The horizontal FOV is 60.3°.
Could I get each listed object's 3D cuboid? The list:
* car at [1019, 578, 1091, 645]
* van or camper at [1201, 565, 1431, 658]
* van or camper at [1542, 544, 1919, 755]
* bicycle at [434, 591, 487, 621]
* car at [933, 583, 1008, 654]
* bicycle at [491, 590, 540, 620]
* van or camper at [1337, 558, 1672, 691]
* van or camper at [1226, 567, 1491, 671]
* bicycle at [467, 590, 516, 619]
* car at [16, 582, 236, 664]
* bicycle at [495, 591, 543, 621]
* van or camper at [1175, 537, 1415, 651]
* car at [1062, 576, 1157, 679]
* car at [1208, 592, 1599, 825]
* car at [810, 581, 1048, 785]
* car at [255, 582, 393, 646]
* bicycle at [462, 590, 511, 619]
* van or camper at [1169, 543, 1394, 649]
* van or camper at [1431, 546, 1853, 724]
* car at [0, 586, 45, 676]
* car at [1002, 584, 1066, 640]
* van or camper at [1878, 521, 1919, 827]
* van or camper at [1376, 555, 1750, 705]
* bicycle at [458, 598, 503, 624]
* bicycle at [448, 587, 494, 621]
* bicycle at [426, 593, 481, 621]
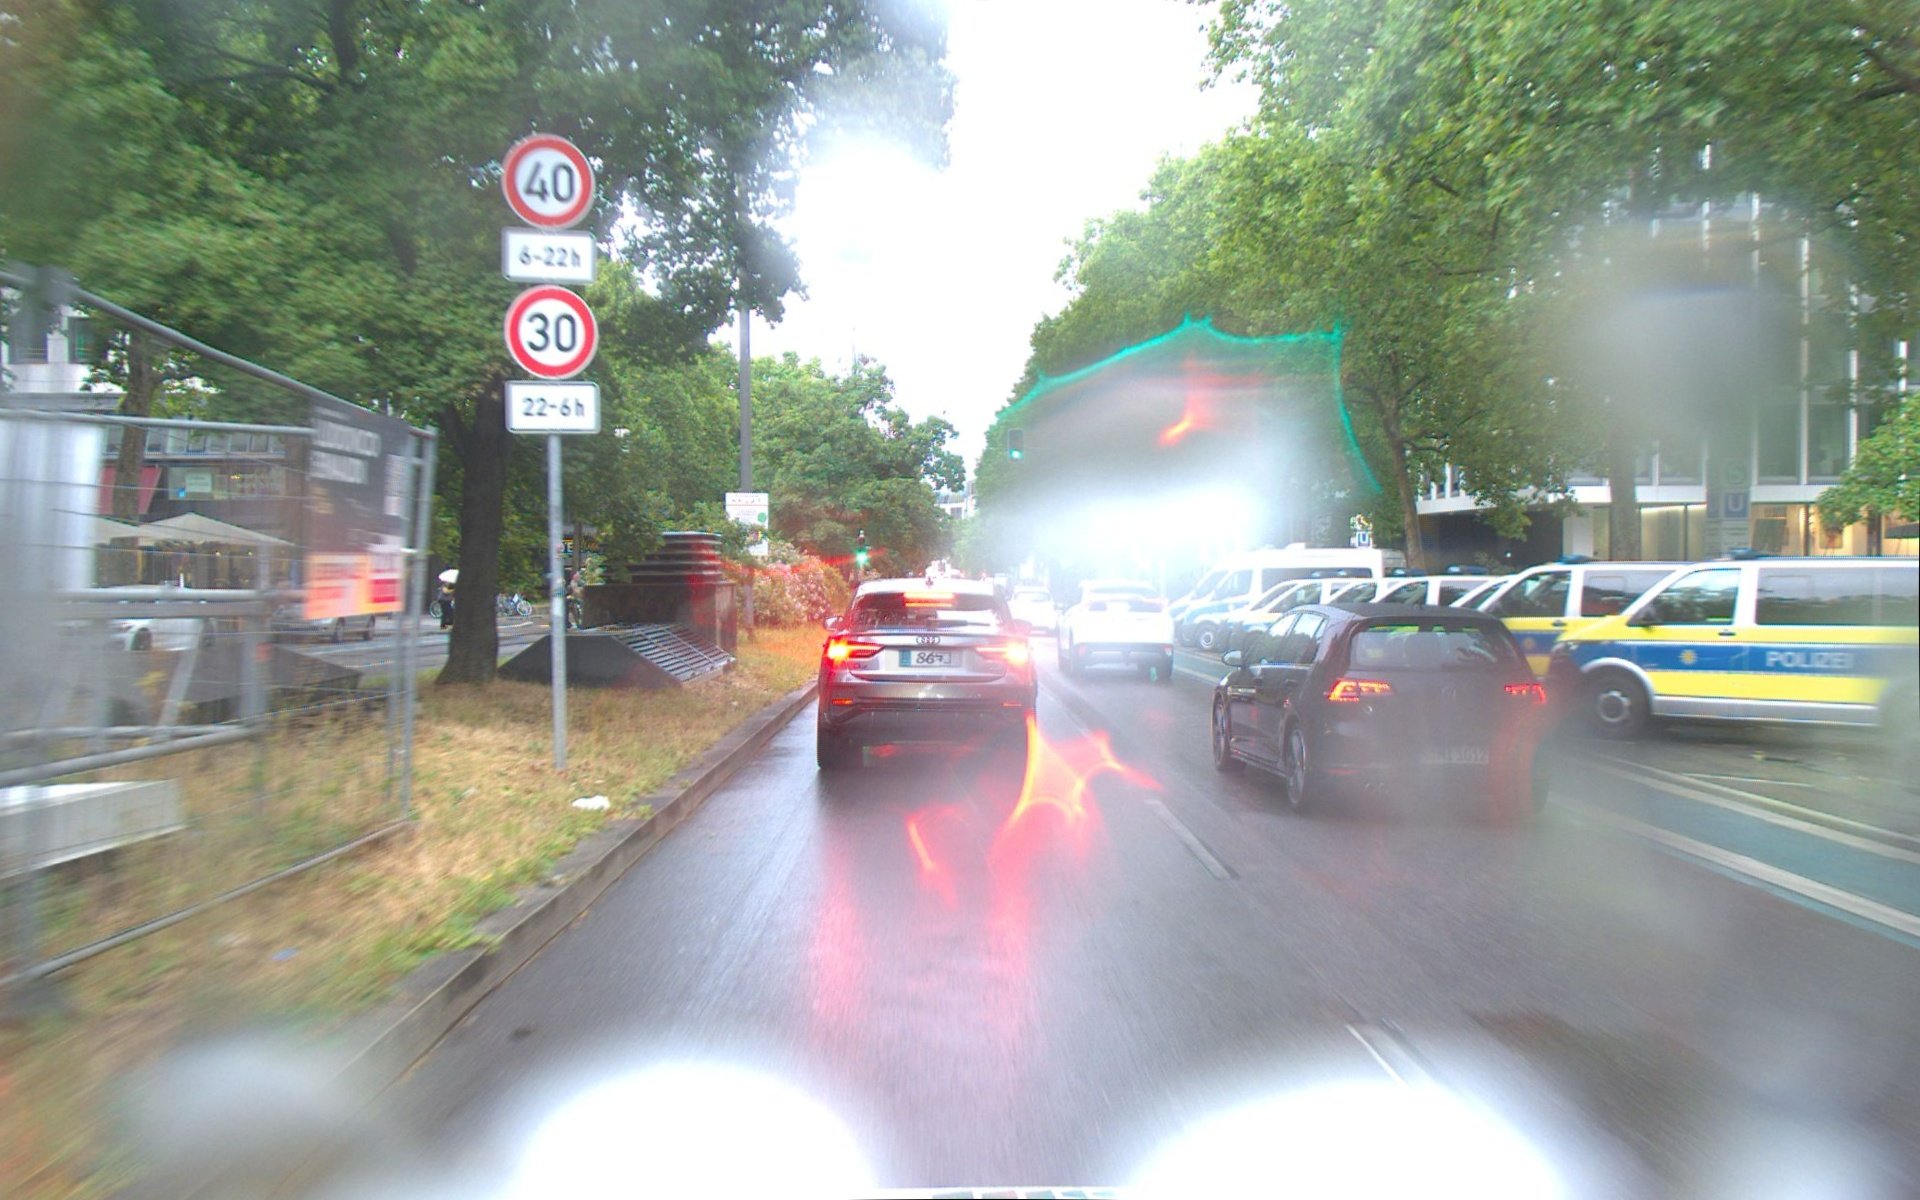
[{"bbox_3d":[2.624,0.289,46.506,1.785,1.780,4.000,0,1,0],"label":"car"},{"bbox_3d":[8.305,0.266,38.773,4.915,2.049,1.993,0,-1,35],"label":"van or camper"},{"bbox_3d":[8.812,0.462,17.401,4.758,2.033,1.861,1,0,36],"label":"van or camper"},{"bbox_3d":[-18.413,0.220,60.981,1.810,1.117,0.613,0,0,-9],"label":"bicycle"},{"bbox_3d":[0.216,0.394,39.385,1.686,1.605,3.961,0,1,-1],"label":"car"},{"bbox_3d":[-17.834,0.190,66.422,1.809,1.156,0.565,-1,1,-7],"label":"bicycle"},{"bbox_3d":[9.155,0.352,28.001,5.008,2.060,2.097,1,1,37],"label":"van or camper"},{"bbox_3d":[8.411,0.366,35.110,5.102,2.027,1.994,1,0,34],"label":"van or camper"},{"bbox_3d":[-18.576,0.183,65.631,1.810,1.156,0.565,0,0,-8],"label":"bicycle"},{"bbox_3d":[-16.054,0.385,32.150,1.953,1.394,4.539,2,1,0],"label":"car"},{"bbox_3d":[-17.885,0.229,67.044,1.809,1.169,0.565,-1,1,-7],"label":"bicycle"},{"bbox_3d":[8.448,-0.153,42.024,5.694,2.727,1.993,0,0,35],"label":"van or camper"},{"bbox_3d":[2.616,0.446,29.438,1.404,1.714,2.979,0,1,0],"label":"car"},{"bbox_3d":[3.141,0.682,12.576,1.730,1.437,3.998,-1,1,-3],"label":"car"},{"bbox_3d":[-0.209,0.610,14.995,1.825,1.559,4.527,0,1,1],"label":"car"},{"bbox_3d":[-16.319,0.318,42.674,1.953,1.535,4.516,-1,1,-3],"label":"car"},{"bbox_3d":[-18.554,0.171,64.830,1.787,1.117,0.565,0,0,-8],"label":"bicycle"},{"bbox_3d":[8.706,-0.130,45.083,5.702,2.724,2.138,1,0,37],"label":"van or camper"},{"bbox_3d":[8.675,0.388,21.210,4.698,2.046,1.993,1,0,36],"label":"van or camper"},{"bbox_3d":[-16.062,0.502,25.177,1.788,1.419,4.483,0,0,0],"label":"car"},{"bbox_3d":[2.429,0.372,55.260,1.953,1.780,4.000,0,1,0],"label":"car"},{"bbox_3d":[8.860,0.560,10.597,4.987,2.054,1.989,2,1,36],"label":"van or camper"},{"bbox_3d":[8.873,0.392,24.482,4.917,2.030,1.995,0,0,32],"label":"van or camper"},{"bbox_3d":[-18.303,0.409,63.170,1.587,0.979,0.508,0,0,-8],"label":"bicycle"},{"bbox_3d":[-18.236,0.130,61.742,1.587,1.263,0.508,0,0,-8],"label":"bicycle"},{"bbox_3d":[-18.395,0.256,60.091,1.808,0.996,0.565,0,0,-4],"label":"bicycle"}]
